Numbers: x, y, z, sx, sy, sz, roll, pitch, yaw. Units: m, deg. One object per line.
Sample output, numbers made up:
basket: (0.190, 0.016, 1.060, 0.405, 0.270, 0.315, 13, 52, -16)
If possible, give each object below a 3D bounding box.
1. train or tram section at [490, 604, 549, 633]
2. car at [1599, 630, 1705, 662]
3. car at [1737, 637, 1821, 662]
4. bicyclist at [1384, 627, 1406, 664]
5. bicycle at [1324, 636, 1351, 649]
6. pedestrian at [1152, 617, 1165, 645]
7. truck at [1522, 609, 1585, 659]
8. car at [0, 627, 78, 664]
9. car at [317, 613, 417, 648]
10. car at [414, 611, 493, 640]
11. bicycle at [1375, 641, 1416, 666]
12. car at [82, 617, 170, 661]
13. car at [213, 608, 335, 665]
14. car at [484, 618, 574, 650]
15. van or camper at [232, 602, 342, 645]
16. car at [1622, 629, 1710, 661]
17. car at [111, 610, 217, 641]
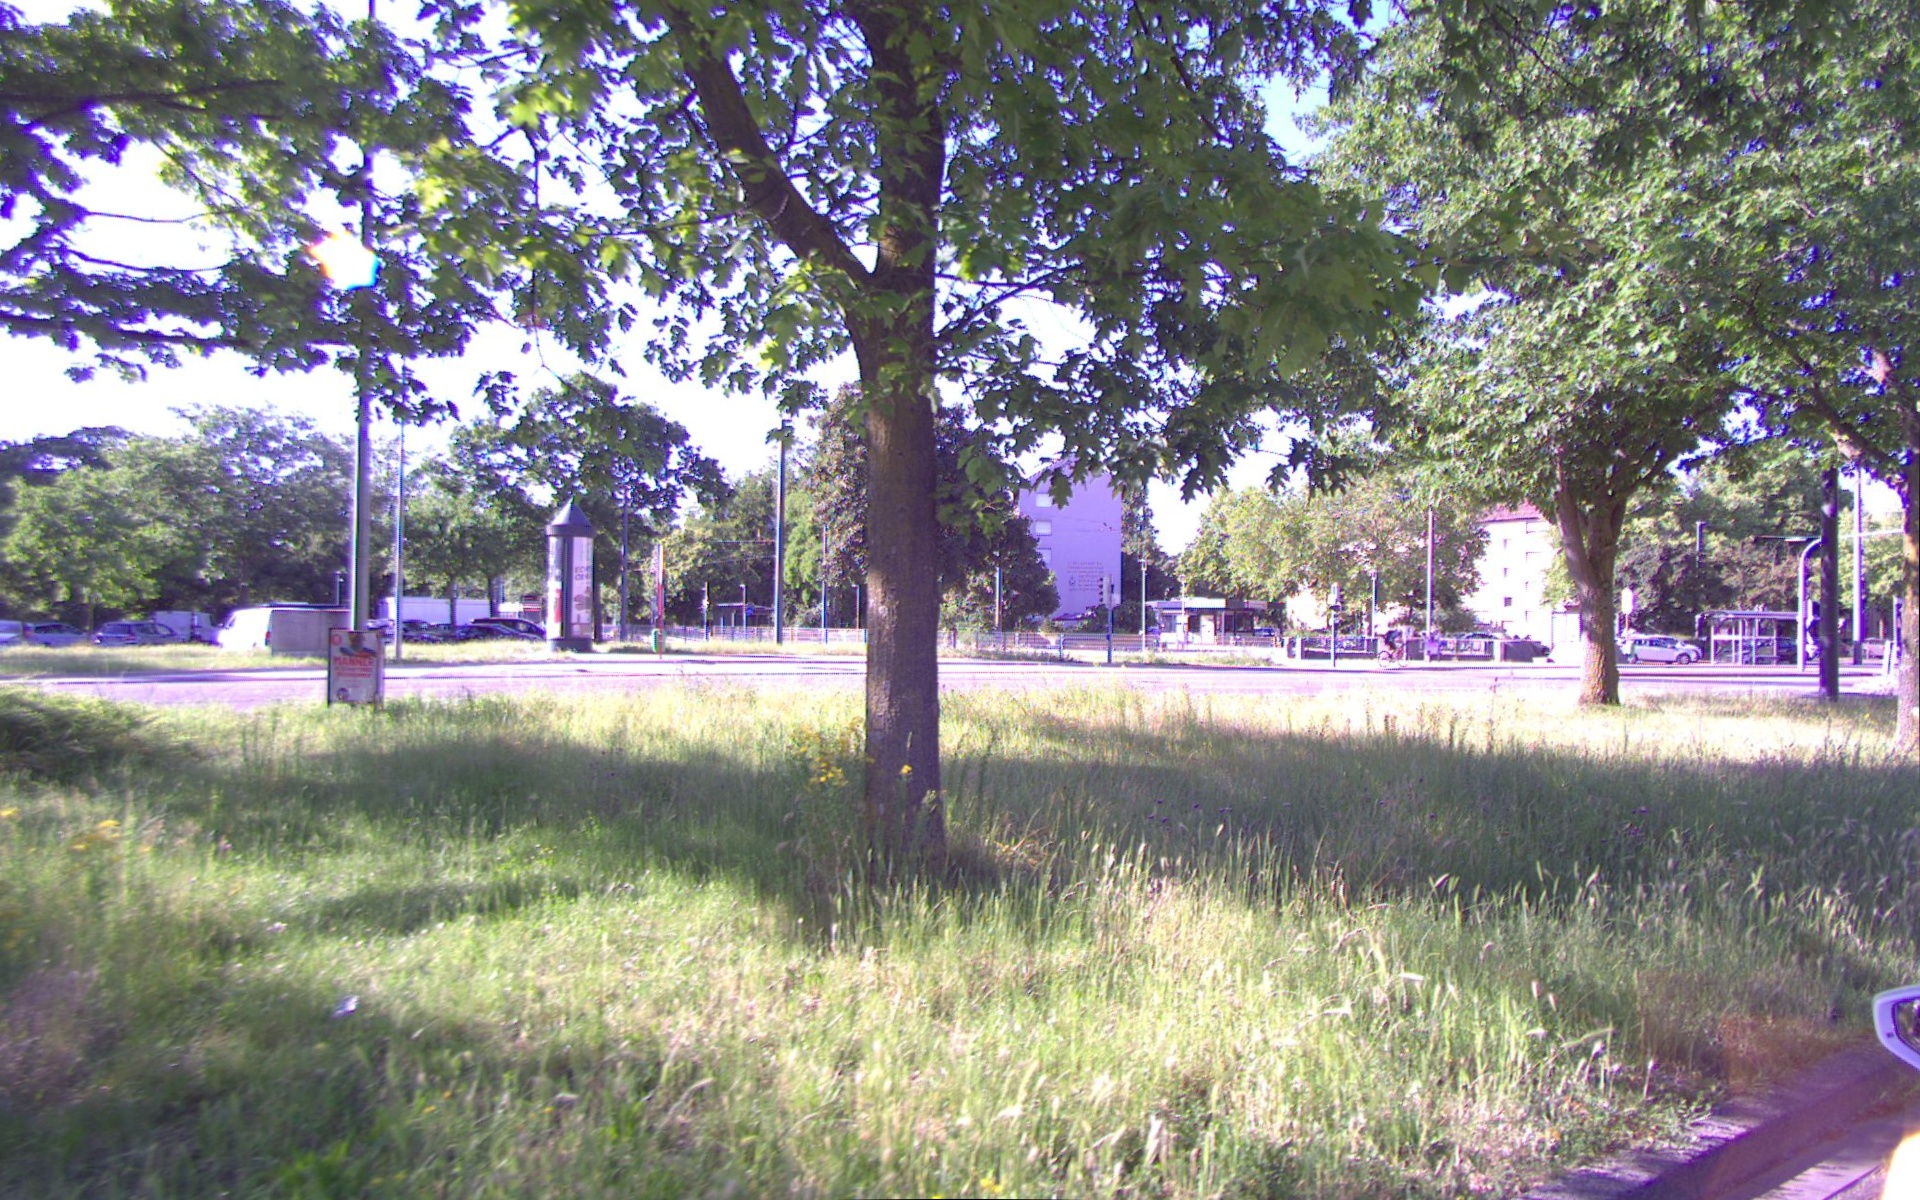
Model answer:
train or tram section: (-49.969, 1.996, 113.464, 2.445, 2.979, 19.652, 2, -1, -34)
car: (38.754, 2.583, 56.365, 4.457, 1.565, 1.873, 1, 2, 13)
car: (54.650, 3.278, 67.053, 1.980, 1.593, 3.962, 2, -2, -34)
bicyclist: (18.789, 1.956, 43.395, 0.665, 1.551, 0.611, 0, 0, -19)
bicycle: (25.287, 2.834, 67.309, 1.652, 0.850, 0.548, 1, -1, 17)
pedestrian: (13.361, 2.110, 67.630, 0.714, 1.853, 0.559, 1, -1, -9)
truck: (37.518, 2.108, 63.635, 1.959, 3.034, 4.832, 0, -1, 12)
car: (-30.885, 1.445, 32.031, 3.963, 1.143, 1.803, 2, -1, -37)
car: (-24.092, 1.228, 40.795, 3.933, 1.299, 1.994, 0, -1, 34)
car: (-31.413, 1.584, 62.378, 1.851, 1.742, 3.951, 0, -1, 36)
bicycle: (18.810, 2.306, 43.394, 1.633, 1.014, 0.611, 0, 0, -20)
car: (-36.346, 1.682, 43.872, 1.628, 1.628, 3.869, 2, 1, -18)
car: (-26.298, 1.359, 38.439, 4.916, 2.040, 2.232, 0, -1, 35)
car: (-22.629, 1.776, 52.806, 3.969, 1.588, 1.976, 2, -1, -41)
van or camper: (-35.172, 1.236, 52.606, 4.327, 2.124, 1.995, 1, -1, -14)
car: (41.143, 2.619, 58.597, 3.923, 1.741, 1.762, 0, 2, -3)
car: (-41.978, 1.326, 53.081, 3.943, 1.530, 1.989, -1, 0, -23)
